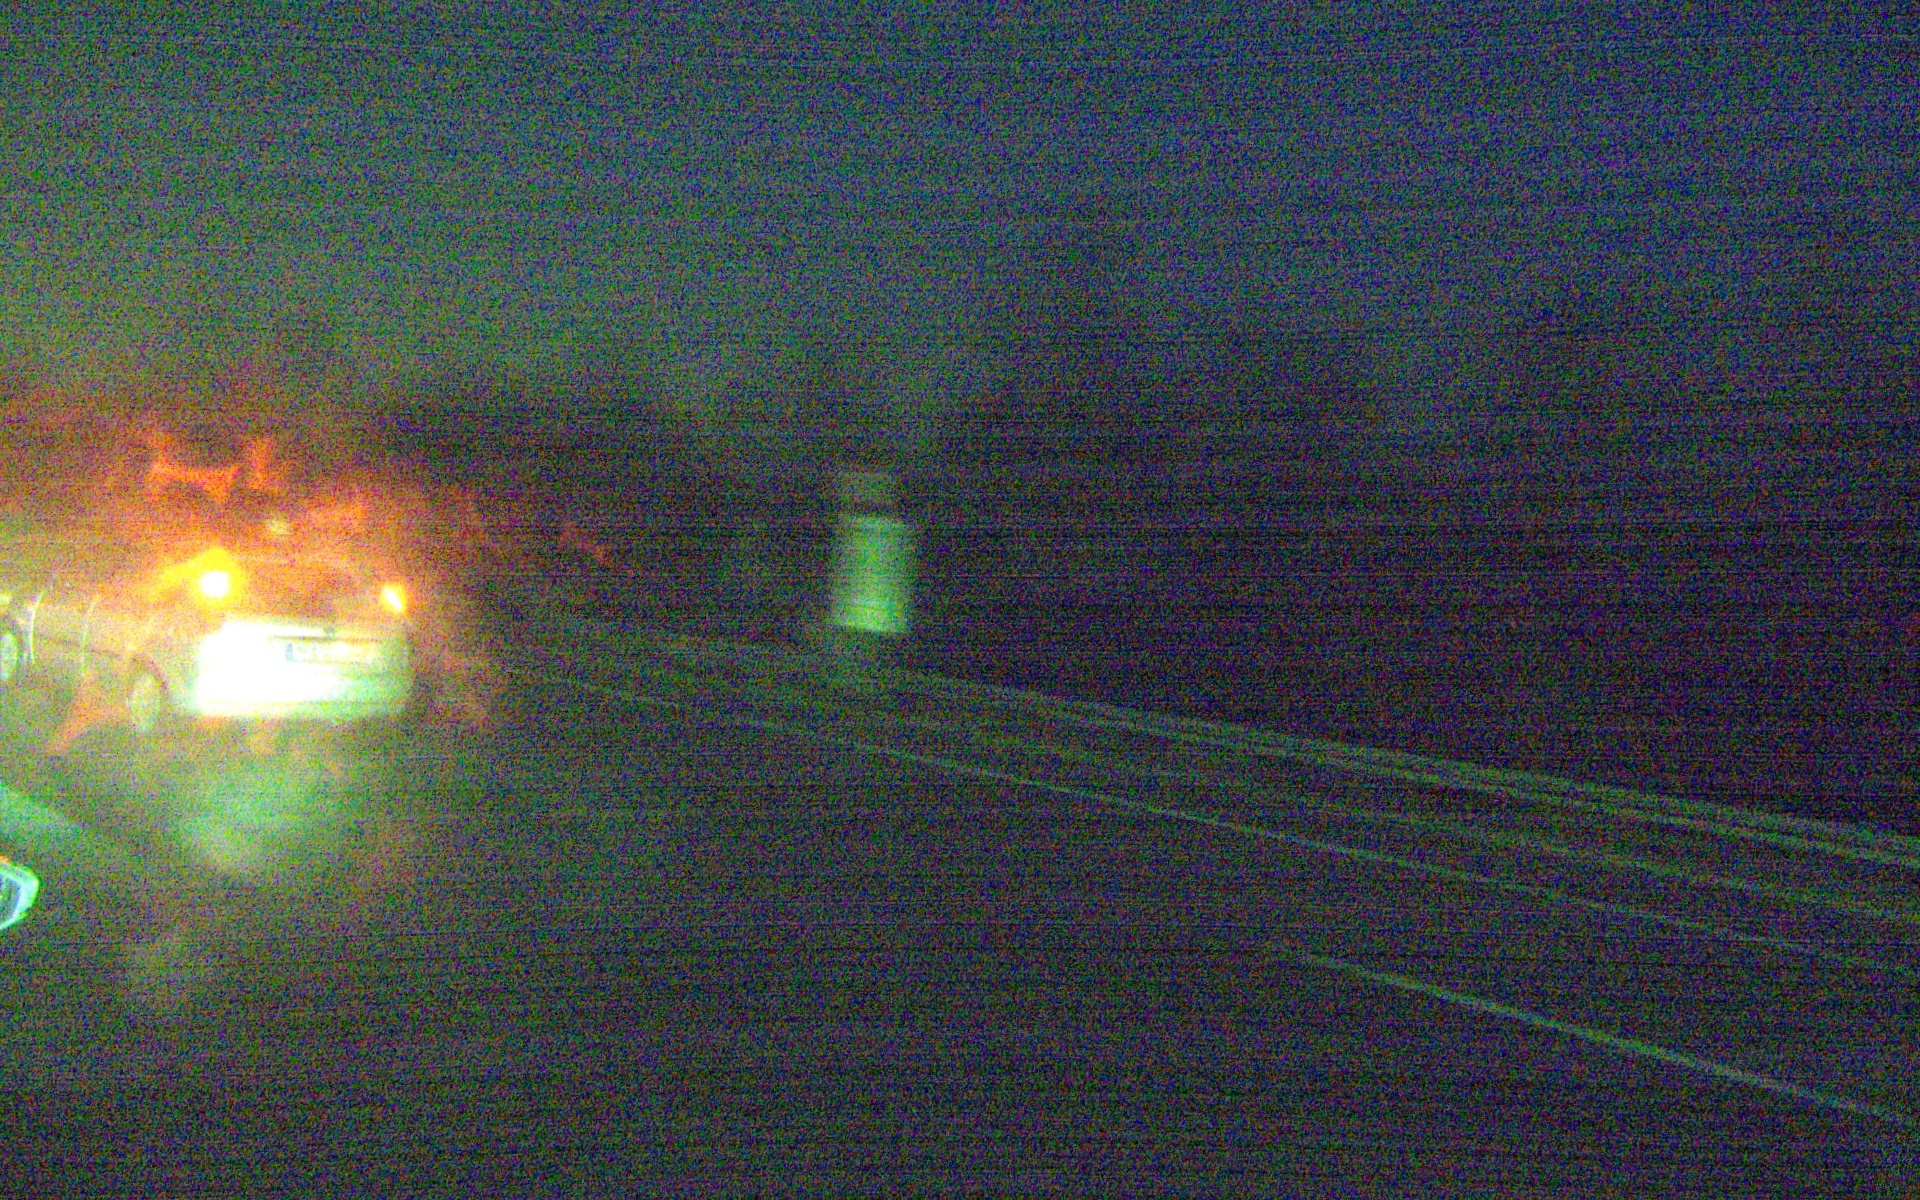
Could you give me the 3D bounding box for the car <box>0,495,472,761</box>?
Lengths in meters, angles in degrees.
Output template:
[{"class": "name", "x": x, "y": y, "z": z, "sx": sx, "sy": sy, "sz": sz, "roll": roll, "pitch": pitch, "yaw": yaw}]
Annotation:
[{"class": "car", "x": -6.019, "y": 0.126, "z": 7.985, "sx": 4.124, "sy": 1.475, "sz": 1.773, "roll": 7, "pitch": -1, "yaw": 31}]
